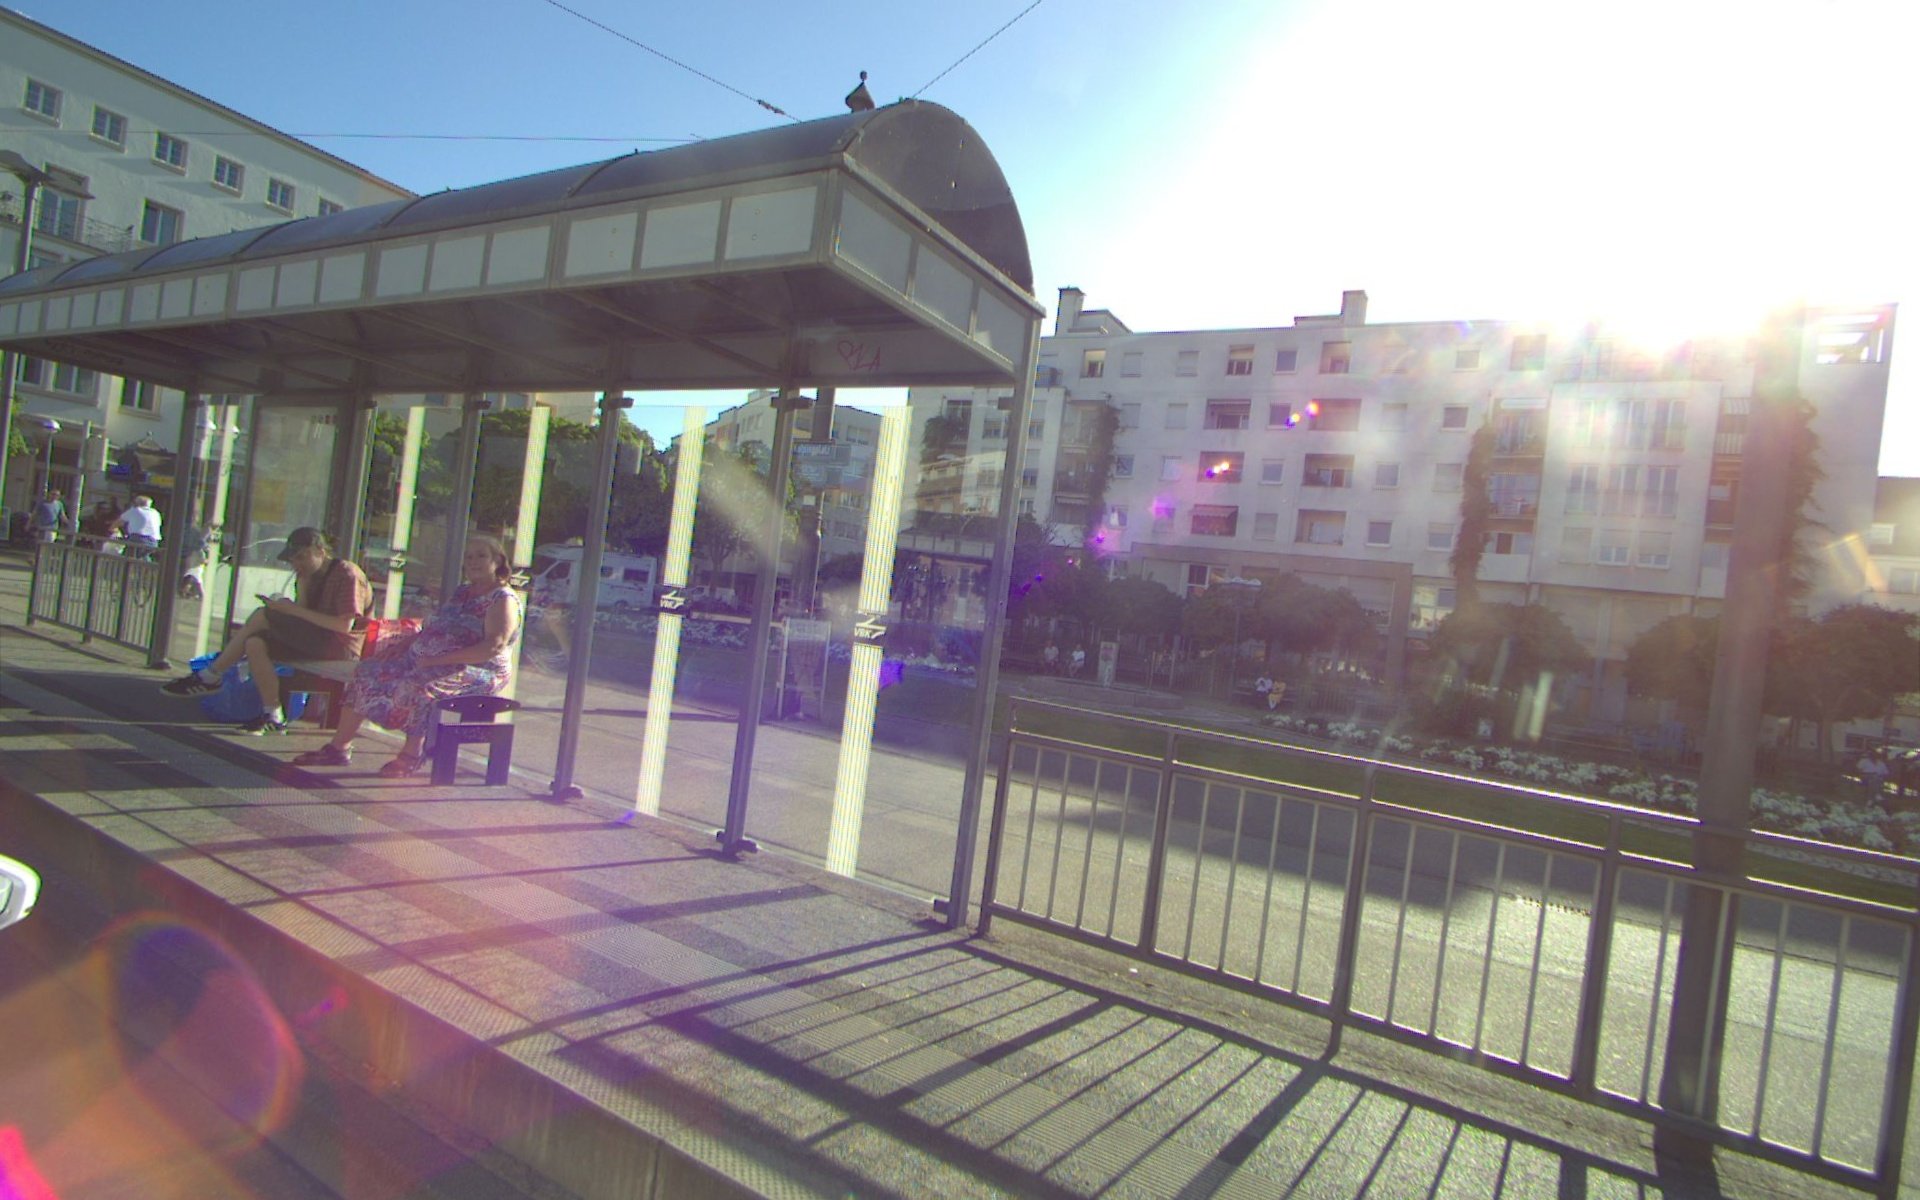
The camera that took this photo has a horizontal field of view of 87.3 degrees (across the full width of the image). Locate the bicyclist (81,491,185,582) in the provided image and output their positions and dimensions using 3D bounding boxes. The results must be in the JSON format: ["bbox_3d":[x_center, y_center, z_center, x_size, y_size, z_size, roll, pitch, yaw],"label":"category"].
[{"bbox_3d":[-13.051,-1.000,15.891,0.919,1.239,0.952,7,-2,37],"label":"bicyclist"}]

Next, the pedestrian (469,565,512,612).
[{"bbox_3d":[-14.454,-0.347,30.993,0.595,1.295,0.901,7,-1,37],"label":"pedestrian"}]

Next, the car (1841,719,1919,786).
[{"bbox_3d":[44.113,7.130,45.062,6.287,2.585,2.812,7,-1,29],"label":"car"}]

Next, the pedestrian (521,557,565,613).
[{"bbox_3d":[-13.042,-0.475,31.443,0.651,1.604,0.902,7,0,35],"label":"pedestrian"}]

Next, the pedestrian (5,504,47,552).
[{"bbox_3d":[-28.119,-2.155,30.289,0.736,1.332,0.622,7,0,-35],"label":"pedestrian"}]

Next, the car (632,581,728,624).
[{"bbox_3d":[-13.797,0.119,49.721,1.974,1.529,3.982,6,-3,43],"label":"car"}]

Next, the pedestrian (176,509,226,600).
[{"bbox_3d":[-15.476,-0.936,20.516,0.520,1.765,0.557,6,-1,42],"label":"pedestrian"}]

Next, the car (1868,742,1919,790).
[{"bbox_3d":[36.261,6.337,37.016,3.941,1.535,1.993,7,-1,38],"label":"car"}]

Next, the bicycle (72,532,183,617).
[{"bbox_3d":[-13.104,-0.415,15.813,2.287,1.073,0.719,7,-2,37],"label":"bicycle"}]

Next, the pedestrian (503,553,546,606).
[{"bbox_3d":[-14.203,-0.669,32.818,0.651,1.604,0.902,7,0,35],"label":"pedestrian"}]

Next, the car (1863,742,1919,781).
[{"bbox_3d":[39.672,6.788,41.031,3.941,1.303,1.993,7,-1,38],"label":"car"}]

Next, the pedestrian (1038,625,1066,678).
[{"bbox_3d":[3.215,1.796,35.081,0.661,1.745,1.028,7,0,11],"label":"pedestrian"}]

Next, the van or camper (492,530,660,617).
[{"bbox_3d":[-16.572,-1.067,43.879,2.340,2.873,6.411,7,-1,35],"label":"van or camper"}]

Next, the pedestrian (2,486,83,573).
[{"bbox_3d":[-21.790,-1.668,23.897,1.110,1.900,0.983,6,-1,29],"label":"pedestrian"}]

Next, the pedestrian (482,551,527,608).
[{"bbox_3d":[-13.840,-0.618,30.575,0.651,1.604,0.902,7,0,35],"label":"pedestrian"}]

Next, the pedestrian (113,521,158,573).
[{"bbox_3d":[-25.355,-1.616,30.939,0.742,1.427,0.731,11,1,32],"label":"pedestrian"}]

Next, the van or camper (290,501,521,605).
[{"bbox_3d":[-20.528,-1.647,37.757,2.331,2.780,7.132,9,0,32],"label":"van or camper"}]

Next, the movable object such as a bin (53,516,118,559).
[{"bbox_3d":[-28.183,-2.006,32.421,1.197,1.167,1.200,7,-1,32],"label":"movable object such as a bin"}]

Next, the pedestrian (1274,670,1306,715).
[{"bbox_3d":[10.225,2.859,31.182,0.718,1.287,0.745,7,0,11],"label":"pedestrian"}]

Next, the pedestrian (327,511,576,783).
[{"bbox_3d":[-2.784,0.275,5.567,0.613,1.348,0.861,6,-4,31],"label":"pedestrian"}]

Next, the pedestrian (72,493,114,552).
[{"bbox_3d":[-29.526,-2.626,34.253,0.667,1.861,0.785,7,0,35],"label":"pedestrian"}]

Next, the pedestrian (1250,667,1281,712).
[{"bbox_3d":[9.492,2.782,31.298,0.718,1.287,0.745,7,0,11],"label":"pedestrian"}]

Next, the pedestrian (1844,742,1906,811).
[{"bbox_3d":[21.640,4.142,23.818,0.923,1.428,1.521,7,-1,42],"label":"pedestrian"}]

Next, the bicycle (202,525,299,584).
[{"bbox_3d":[-23.611,-1.502,33.530,0.714,1.548,2.391,7,-3,31],"label":"bicycle"}]

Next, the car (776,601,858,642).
[{"bbox_3d":[-6.772,1.057,48.032,1.964,1.503,4.000,7,-1,23],"label":"car"}]

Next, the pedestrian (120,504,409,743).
[{"bbox_3d":[-4.147,0.159,6.046,0.908,1.238,1.001,6,-4,32],"label":"pedestrian"}]

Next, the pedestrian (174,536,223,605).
[{"bbox_3d":[-14.749,-0.565,19.487,0.520,1.240,0.557,6,-2,42],"label":"pedestrian"}]

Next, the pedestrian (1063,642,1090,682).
[{"bbox_3d":[4.040,2.132,34.891,0.718,1.287,1.042,7,0,11],"label":"pedestrian"}]

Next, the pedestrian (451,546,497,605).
[{"bbox_3d":[-15.112,-0.763,31.273,0.684,1.705,0.902,7,0,35],"label":"pedestrian"}]
